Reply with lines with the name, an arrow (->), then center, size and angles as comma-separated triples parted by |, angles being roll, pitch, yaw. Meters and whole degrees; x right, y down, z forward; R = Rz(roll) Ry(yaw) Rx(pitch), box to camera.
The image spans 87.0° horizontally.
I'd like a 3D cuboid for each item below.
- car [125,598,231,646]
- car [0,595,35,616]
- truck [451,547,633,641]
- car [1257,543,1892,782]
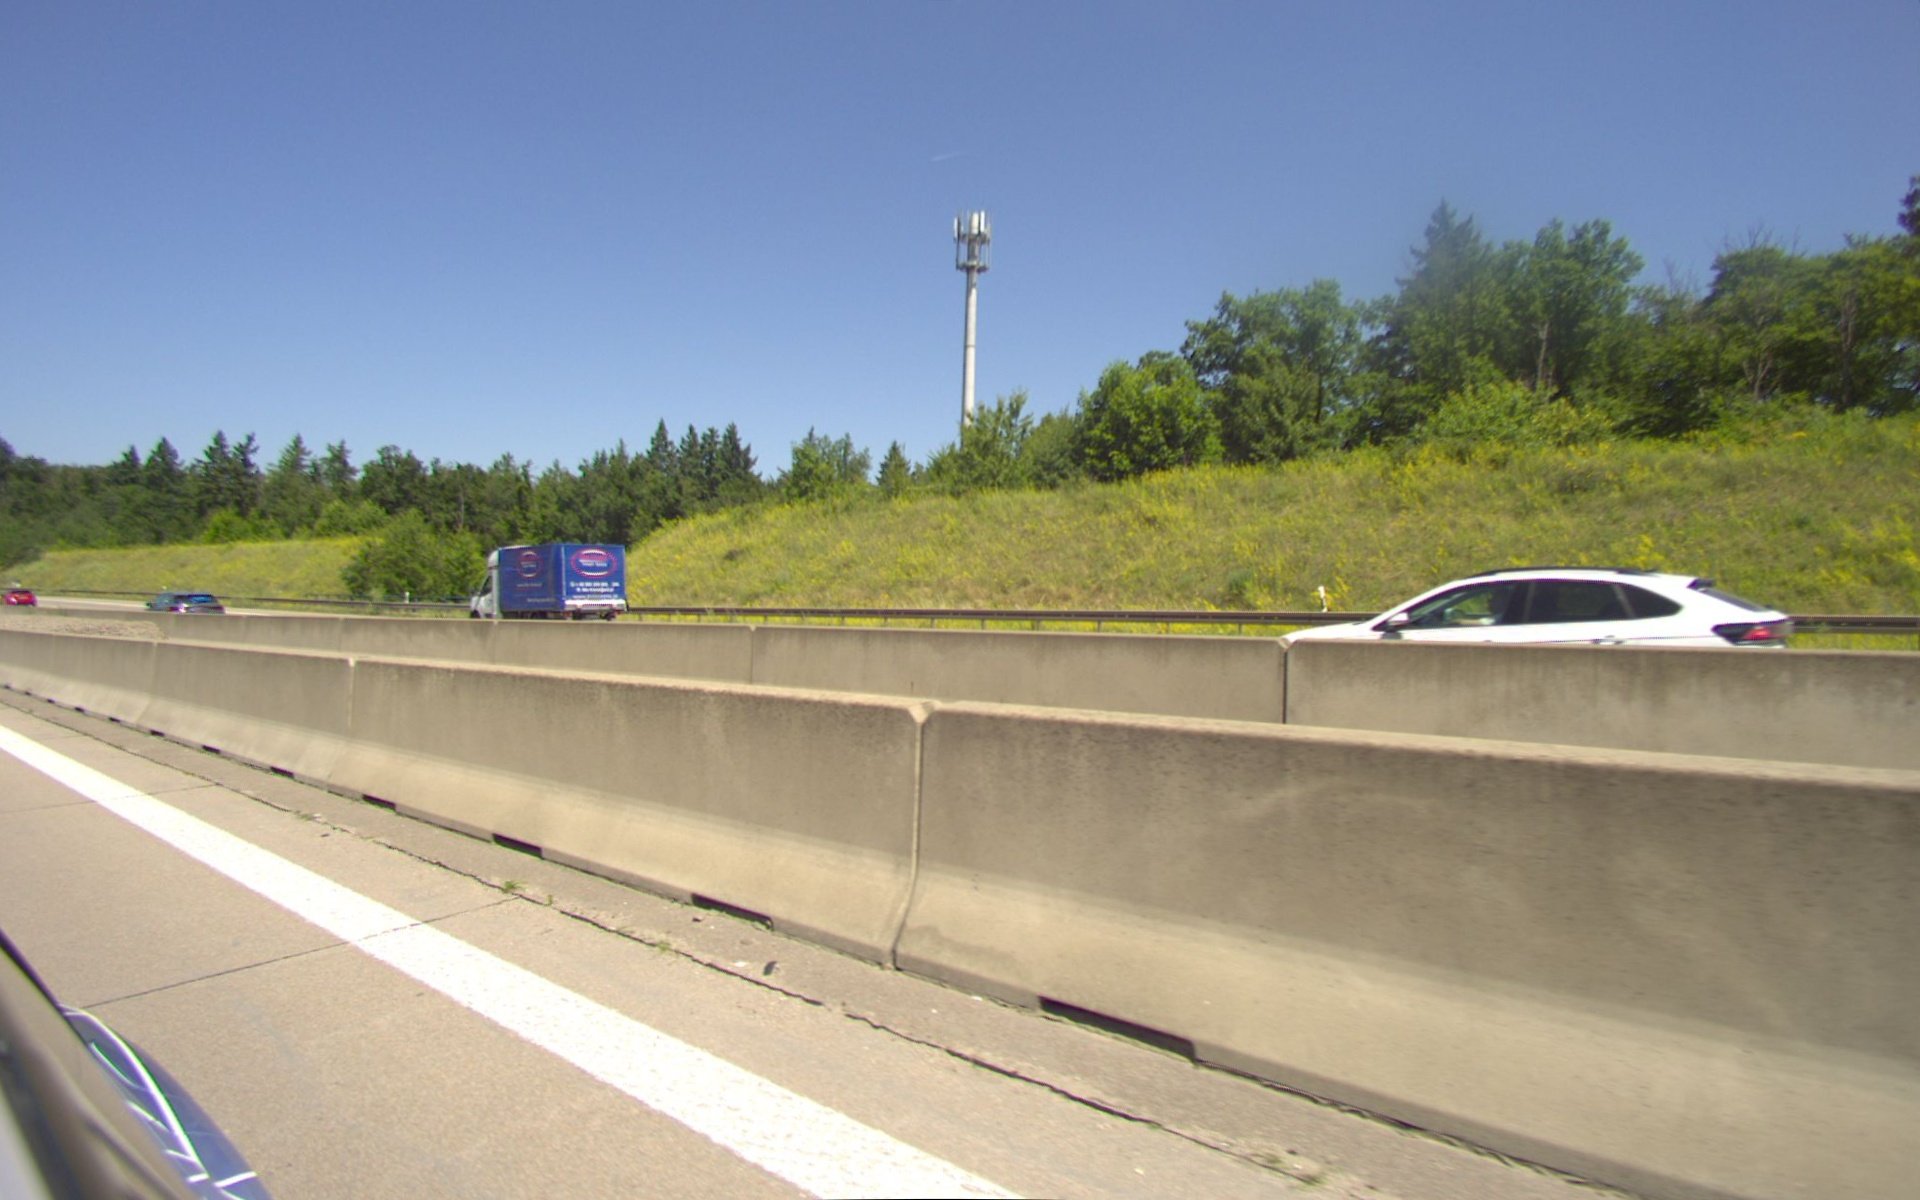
car -> -28.669, 0.769, 37.060 | 4.652, 1.617, 1.975 | -1, 0, 38
car -> -75.471, 0.445, 80.553 | 4.406, 1.617, 1.975 | -1, 0, 38
truck -> -14.850, -0.184, 35.643 | 7.828, 3.011, 2.536 | -1, 0, 39
car -> 5.140, 0.424, 8.974 | 4.406, 1.617, 1.975 | -1, 0, 38
